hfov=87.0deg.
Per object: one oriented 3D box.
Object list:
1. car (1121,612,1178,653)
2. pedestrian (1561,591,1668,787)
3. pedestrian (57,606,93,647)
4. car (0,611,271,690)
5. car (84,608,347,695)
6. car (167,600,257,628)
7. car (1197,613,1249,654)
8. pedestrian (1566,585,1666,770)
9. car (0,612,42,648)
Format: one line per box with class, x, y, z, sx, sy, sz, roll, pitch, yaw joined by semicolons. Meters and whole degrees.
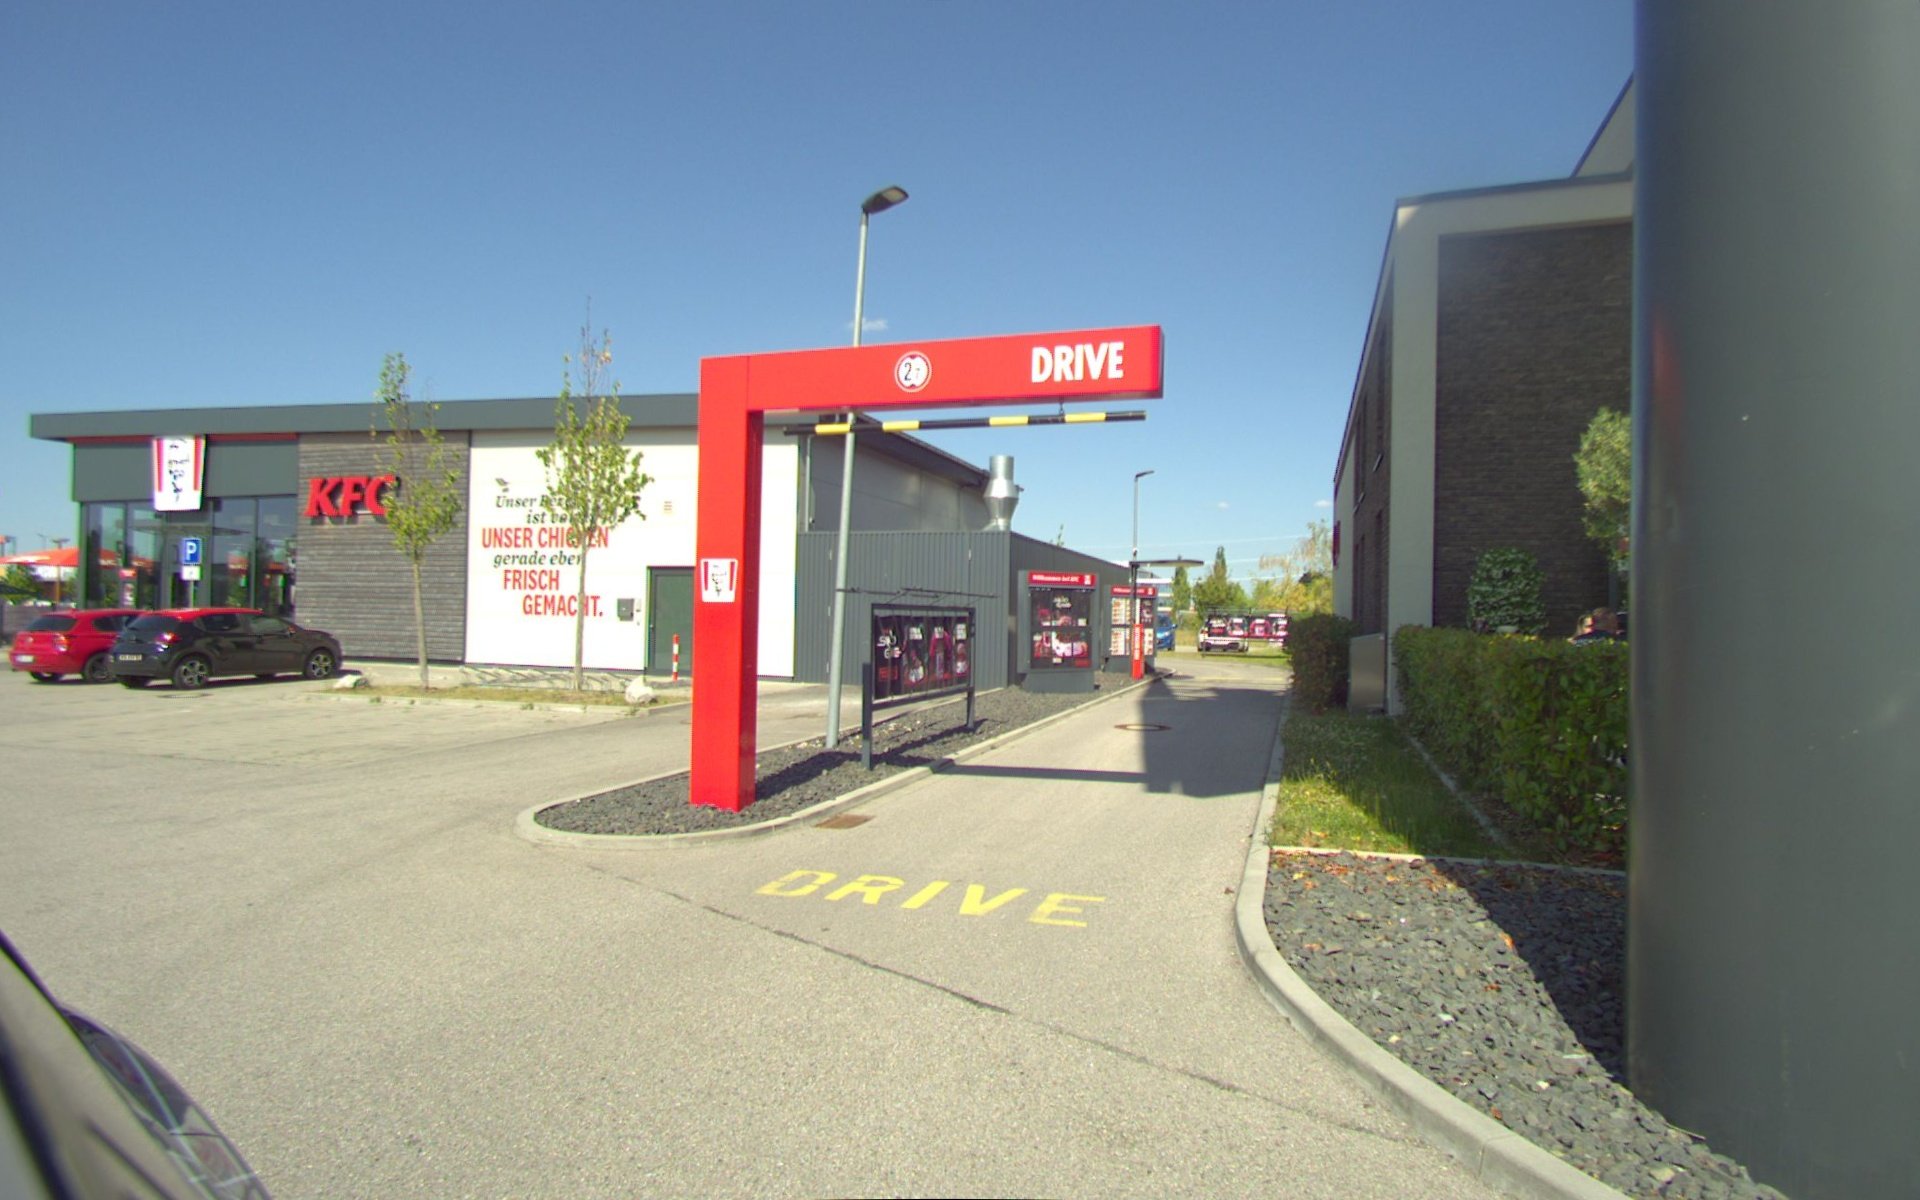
car;7.524;1.244;40.019;1.726;1.518;3.885;0;-1;18
pedestrian;5.269;0.698;8.174;0.564;1.516;0.523;-1;-2;17
pedestrian;-28.422;0.854;32.509;0.605;1.283;0.624;0;-2;3
car;-16.887;0.948;20.844;1.725;1.423;4.378;0;-1;16
car;-14.350;0.908;19.776;1.726;1.518;3.885;0;-1;18
car;-43.089;0.838;58.382;3.931;1.564;1.760;1;-2;-28
car;10.327;1.264;39.542;1.726;1.518;3.885;0;-1;18
pedestrian;5.607;0.645;8.674;0.564;1.516;0.523;-1;-2;17
car;-39.881;1.241;41.988;1.805;1.471;4.383;1;-2;-30
